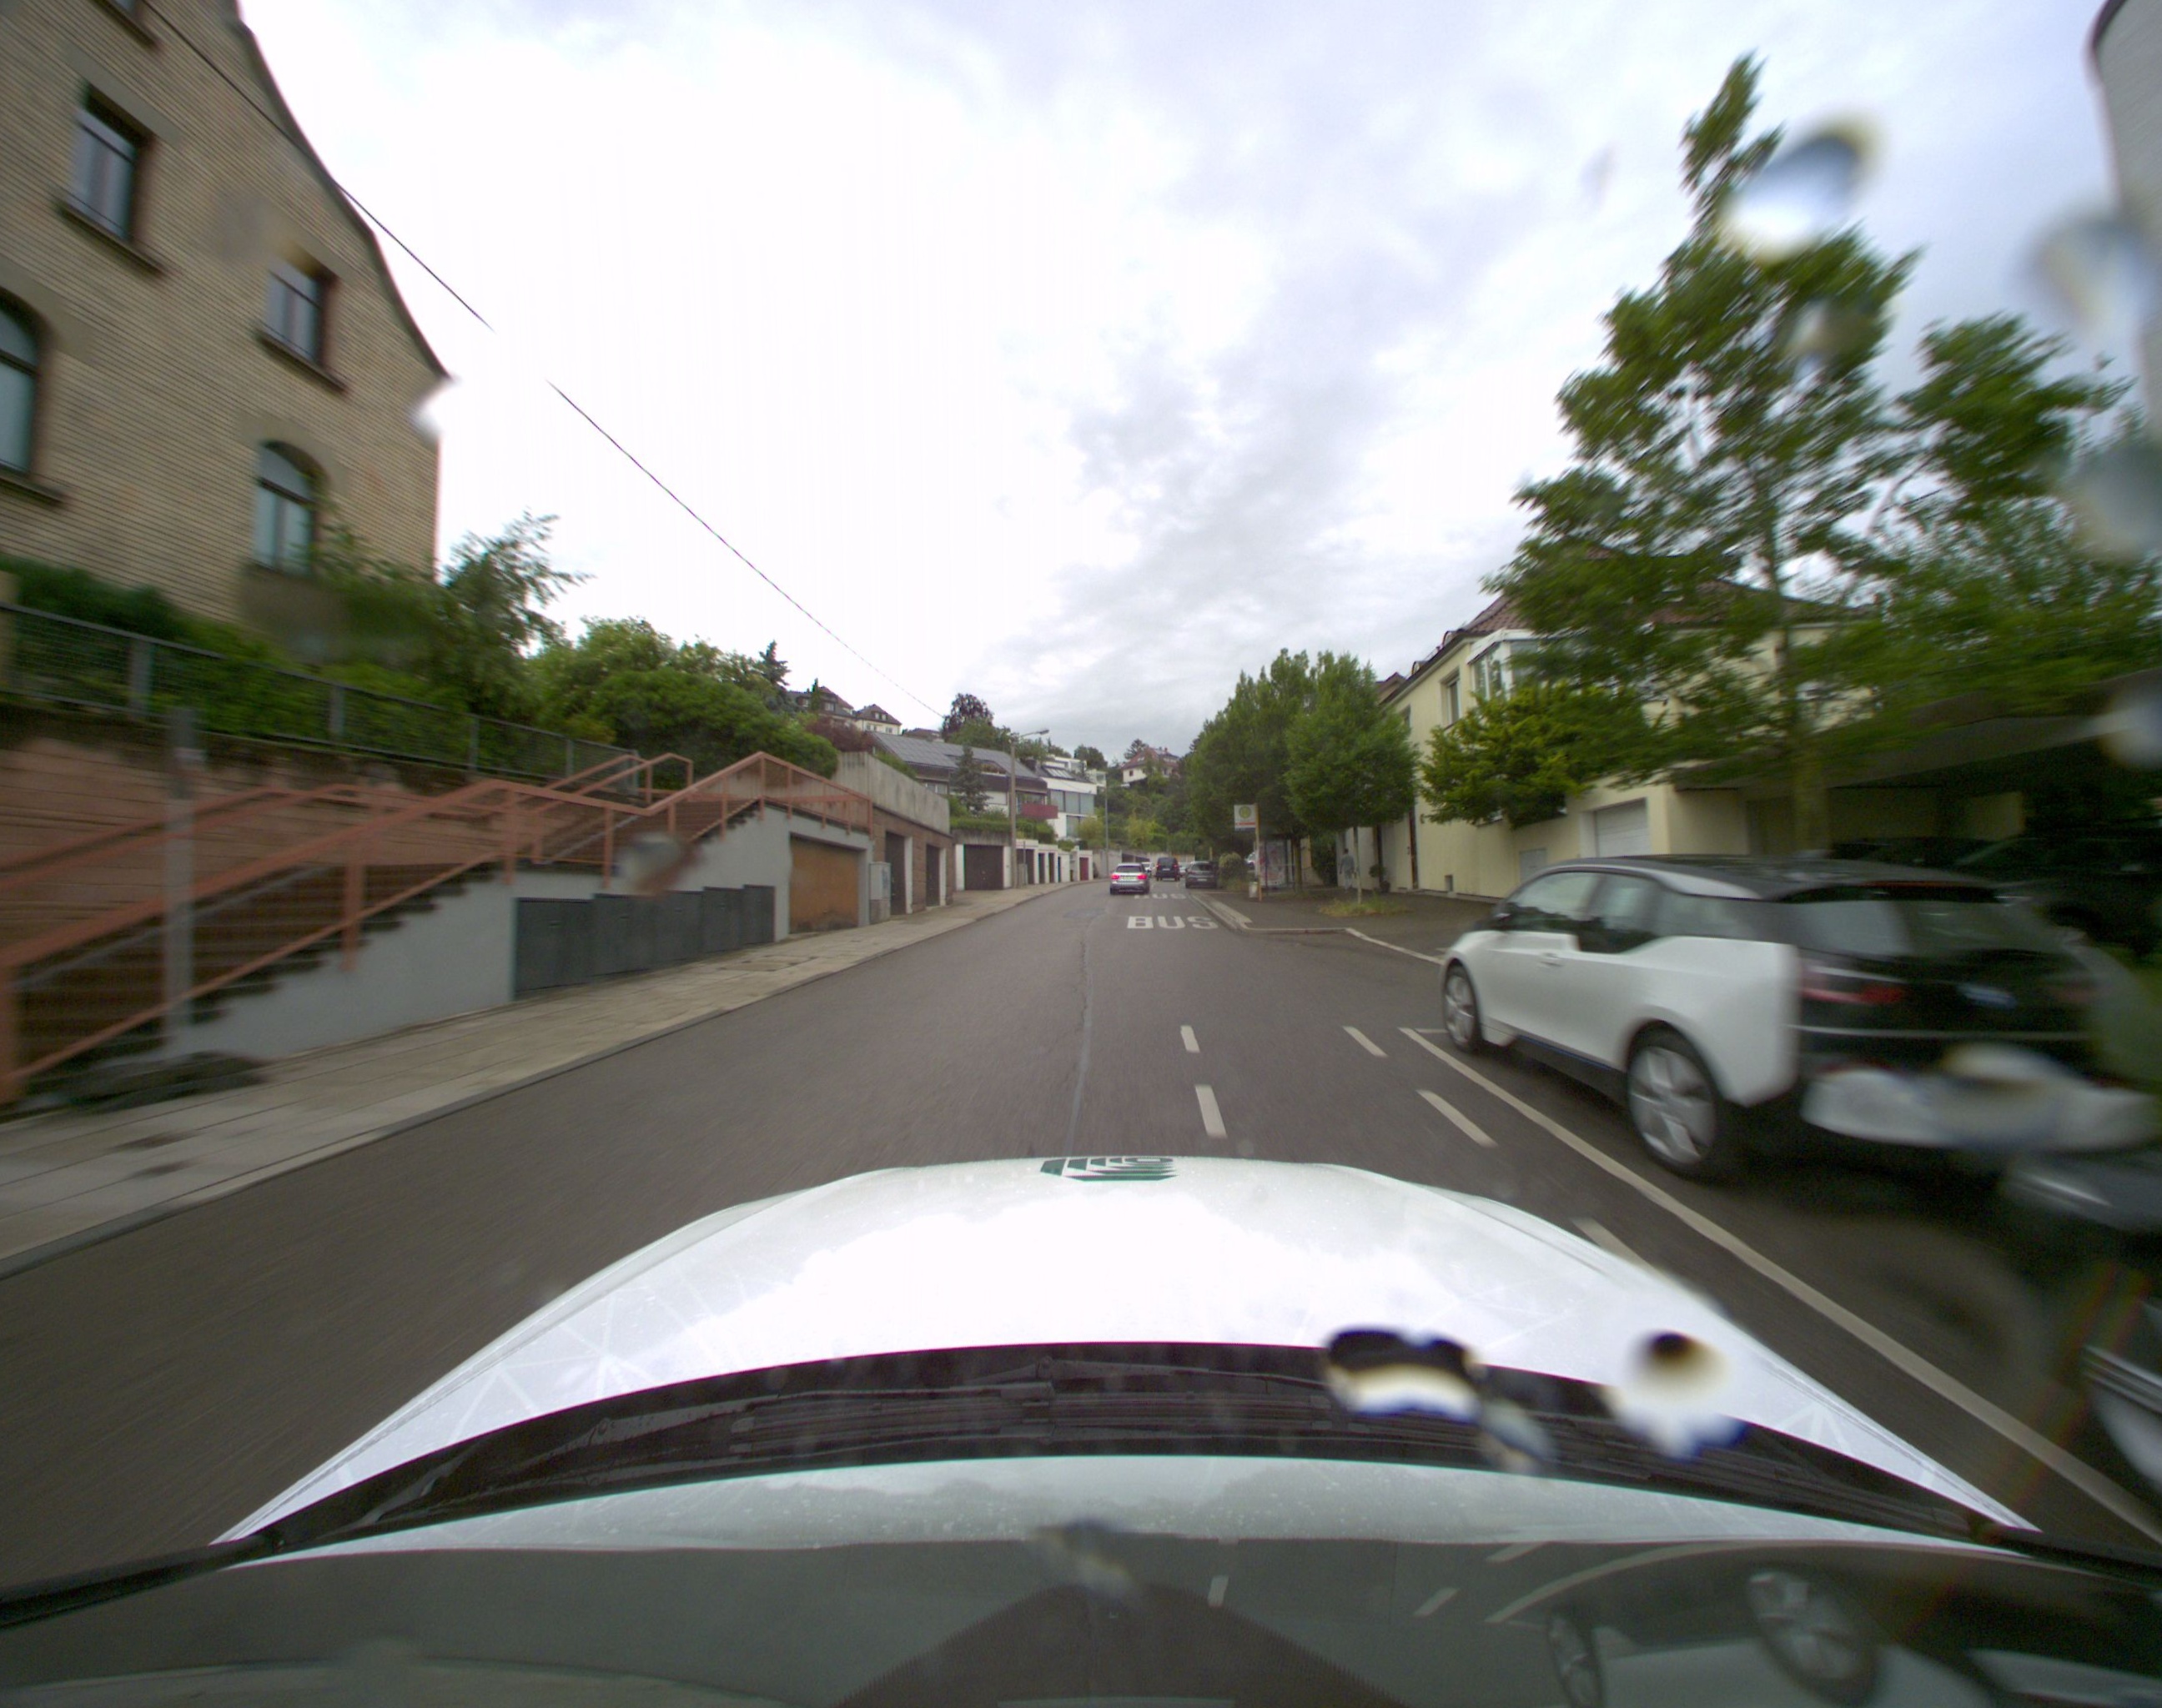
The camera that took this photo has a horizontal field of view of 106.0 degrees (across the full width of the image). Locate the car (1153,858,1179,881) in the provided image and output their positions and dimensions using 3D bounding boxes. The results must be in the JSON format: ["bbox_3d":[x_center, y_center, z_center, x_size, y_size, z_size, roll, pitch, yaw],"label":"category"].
[{"bbox_3d":[6.641,1.220,63.966,1.984,1.708,4.005,-1,-1,5],"label":"car"}]

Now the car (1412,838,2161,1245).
[{"bbox_3d":[3.770,0.760,5.333,1.722,1.608,4.122,1,0,3],"label":"car"}]

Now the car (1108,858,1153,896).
[{"bbox_3d":[2.311,1.086,39.082,2.018,1.708,4.216,-1,-1,1],"label":"car"}]

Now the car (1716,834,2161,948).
[{"bbox_3d":[11.985,0.489,11.664,4.277,1.480,1.833,0,0,5],"label":"car"}]

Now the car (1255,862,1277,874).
[{"bbox_3d":[22.579,1.704,99.427,1.653,1.471,3.732,0,0,28],"label":"car"}]

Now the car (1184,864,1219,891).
[{"bbox_3d":[6.860,1.326,46.530,1.868,1.416,4.476,-1,0,7],"label":"car"}]

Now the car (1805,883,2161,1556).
[{"bbox_3d":[3.201,0.803,0.223,1.772,1.439,4.883,0,0,2],"label":"car"}]

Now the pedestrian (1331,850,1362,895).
[{"bbox_3d":[10.409,0.700,31.928,0.828,1.686,1.046,-4,-1,6],"label":"pedestrian"}]

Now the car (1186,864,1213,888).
[{"bbox_3d":[7.640,1.391,52.587,1.647,1.489,4.009,0,0,8],"label":"car"}]

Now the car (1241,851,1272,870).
[{"bbox_3d":[25.537,0.881,118.553,2.074,2.550,6.136,-3,-1,35],"label":"car"}]

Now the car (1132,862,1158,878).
[{"bbox_3d":[6.192,1.529,78.559,1.614,1.516,3.850,-2,-1,18],"label":"car"}]

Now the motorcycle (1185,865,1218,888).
[{"bbox_3d":[7.361,1.366,49.762,1.905,1.330,0.788,0,0,2],"label":"motorcycle"}]

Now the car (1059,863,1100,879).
[{"bbox_3d":[-0.154,1.604,77.389,1.778,1.478,3.883,0,0,-44],"label":"car"}]

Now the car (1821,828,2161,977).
[{"bbox_3d":[11.003,0.484,9.137,3.683,1.507,1.785,-1,0,5],"label":"car"}]

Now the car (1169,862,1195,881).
[{"bbox_3d":[9.730,1.679,78.338,1.979,1.708,4.015,-1,-1,14],"label":"car"}]
